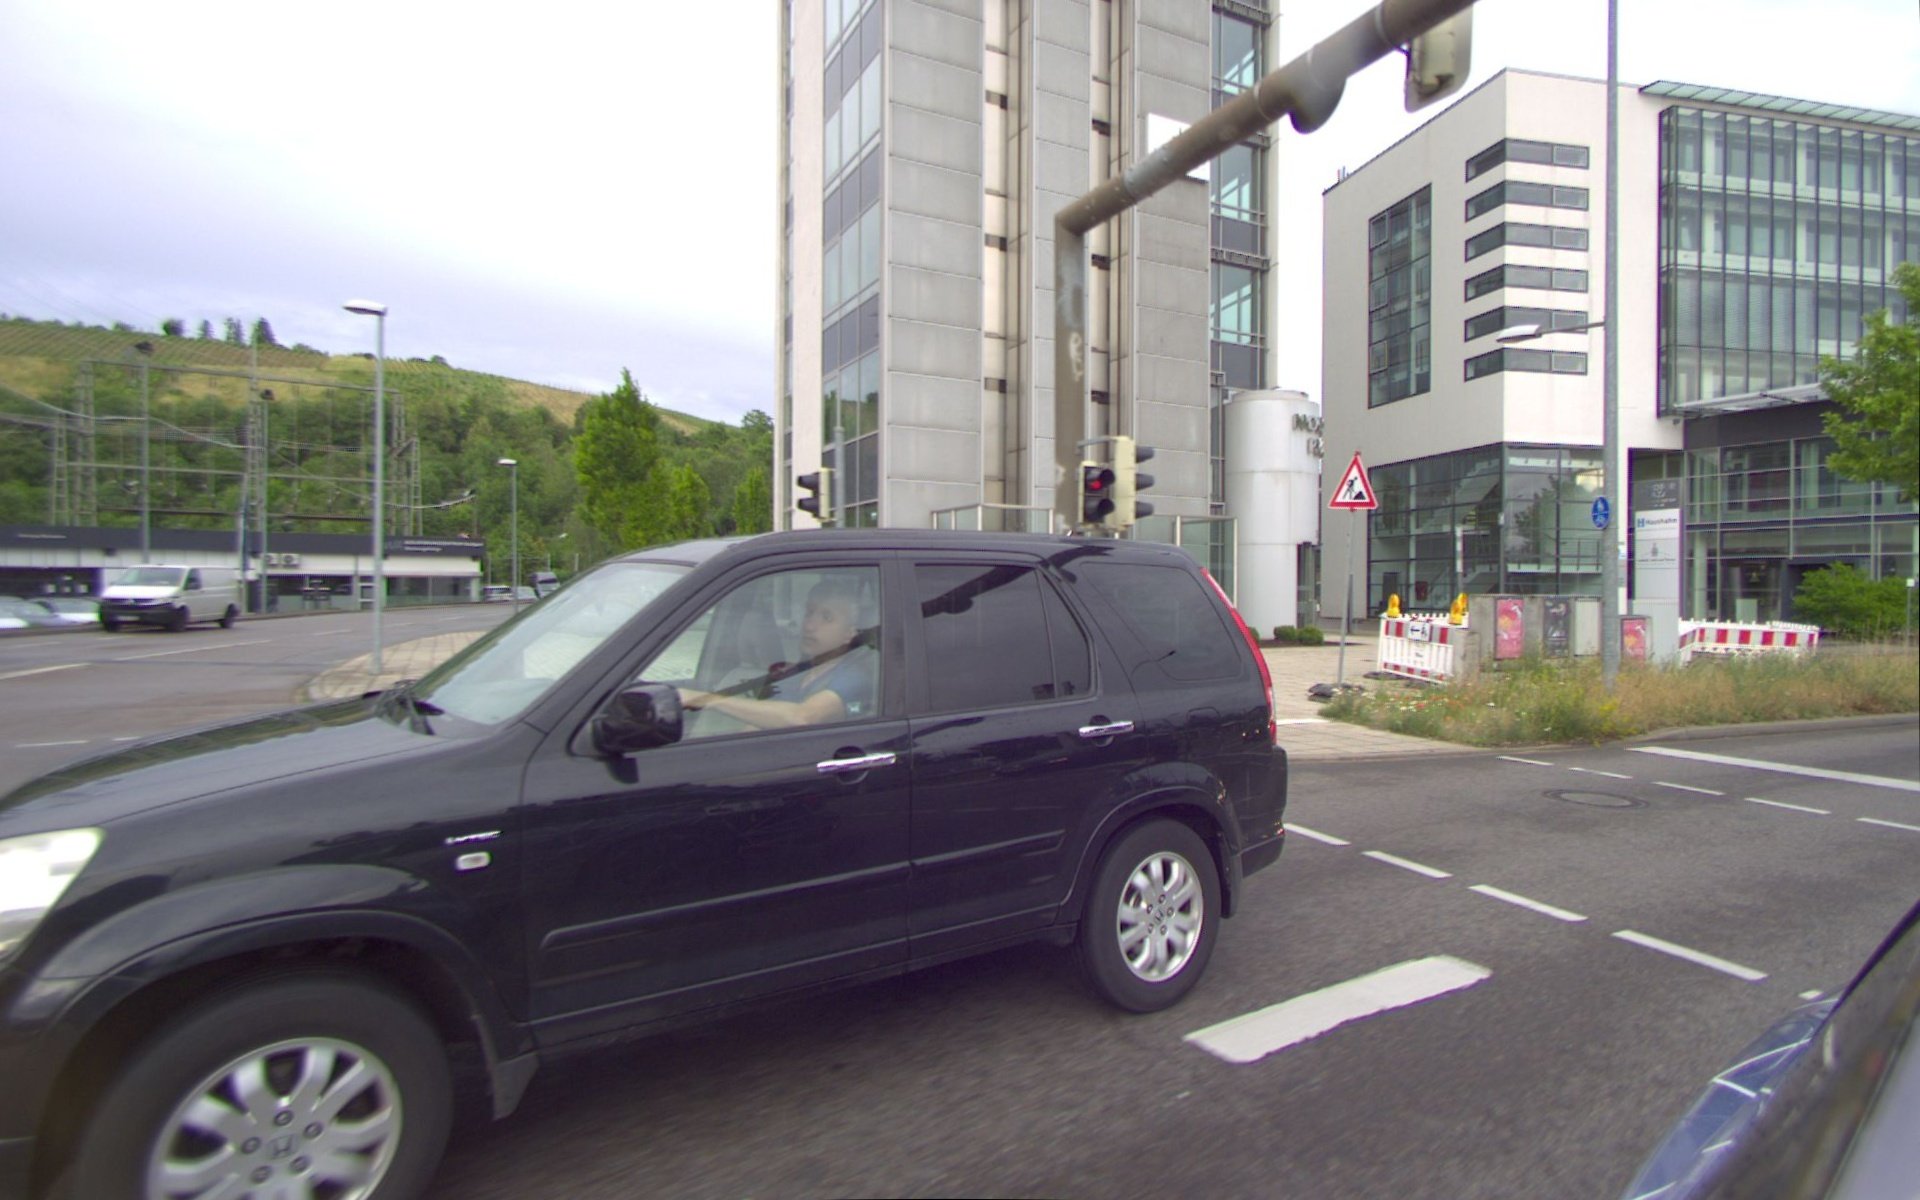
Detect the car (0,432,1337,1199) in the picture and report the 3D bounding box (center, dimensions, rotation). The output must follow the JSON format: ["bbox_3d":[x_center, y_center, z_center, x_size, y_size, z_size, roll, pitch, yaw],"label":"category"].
[{"bbox_3d":[-0.772,0.566,3.492,4.242,1.651,1.771,1,-2,-35],"label":"car"}]

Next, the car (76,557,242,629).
[{"bbox_3d":[-23.578,-0.183,30.077,1.958,1.940,5.091,-1,0,-14],"label":"car"}]
